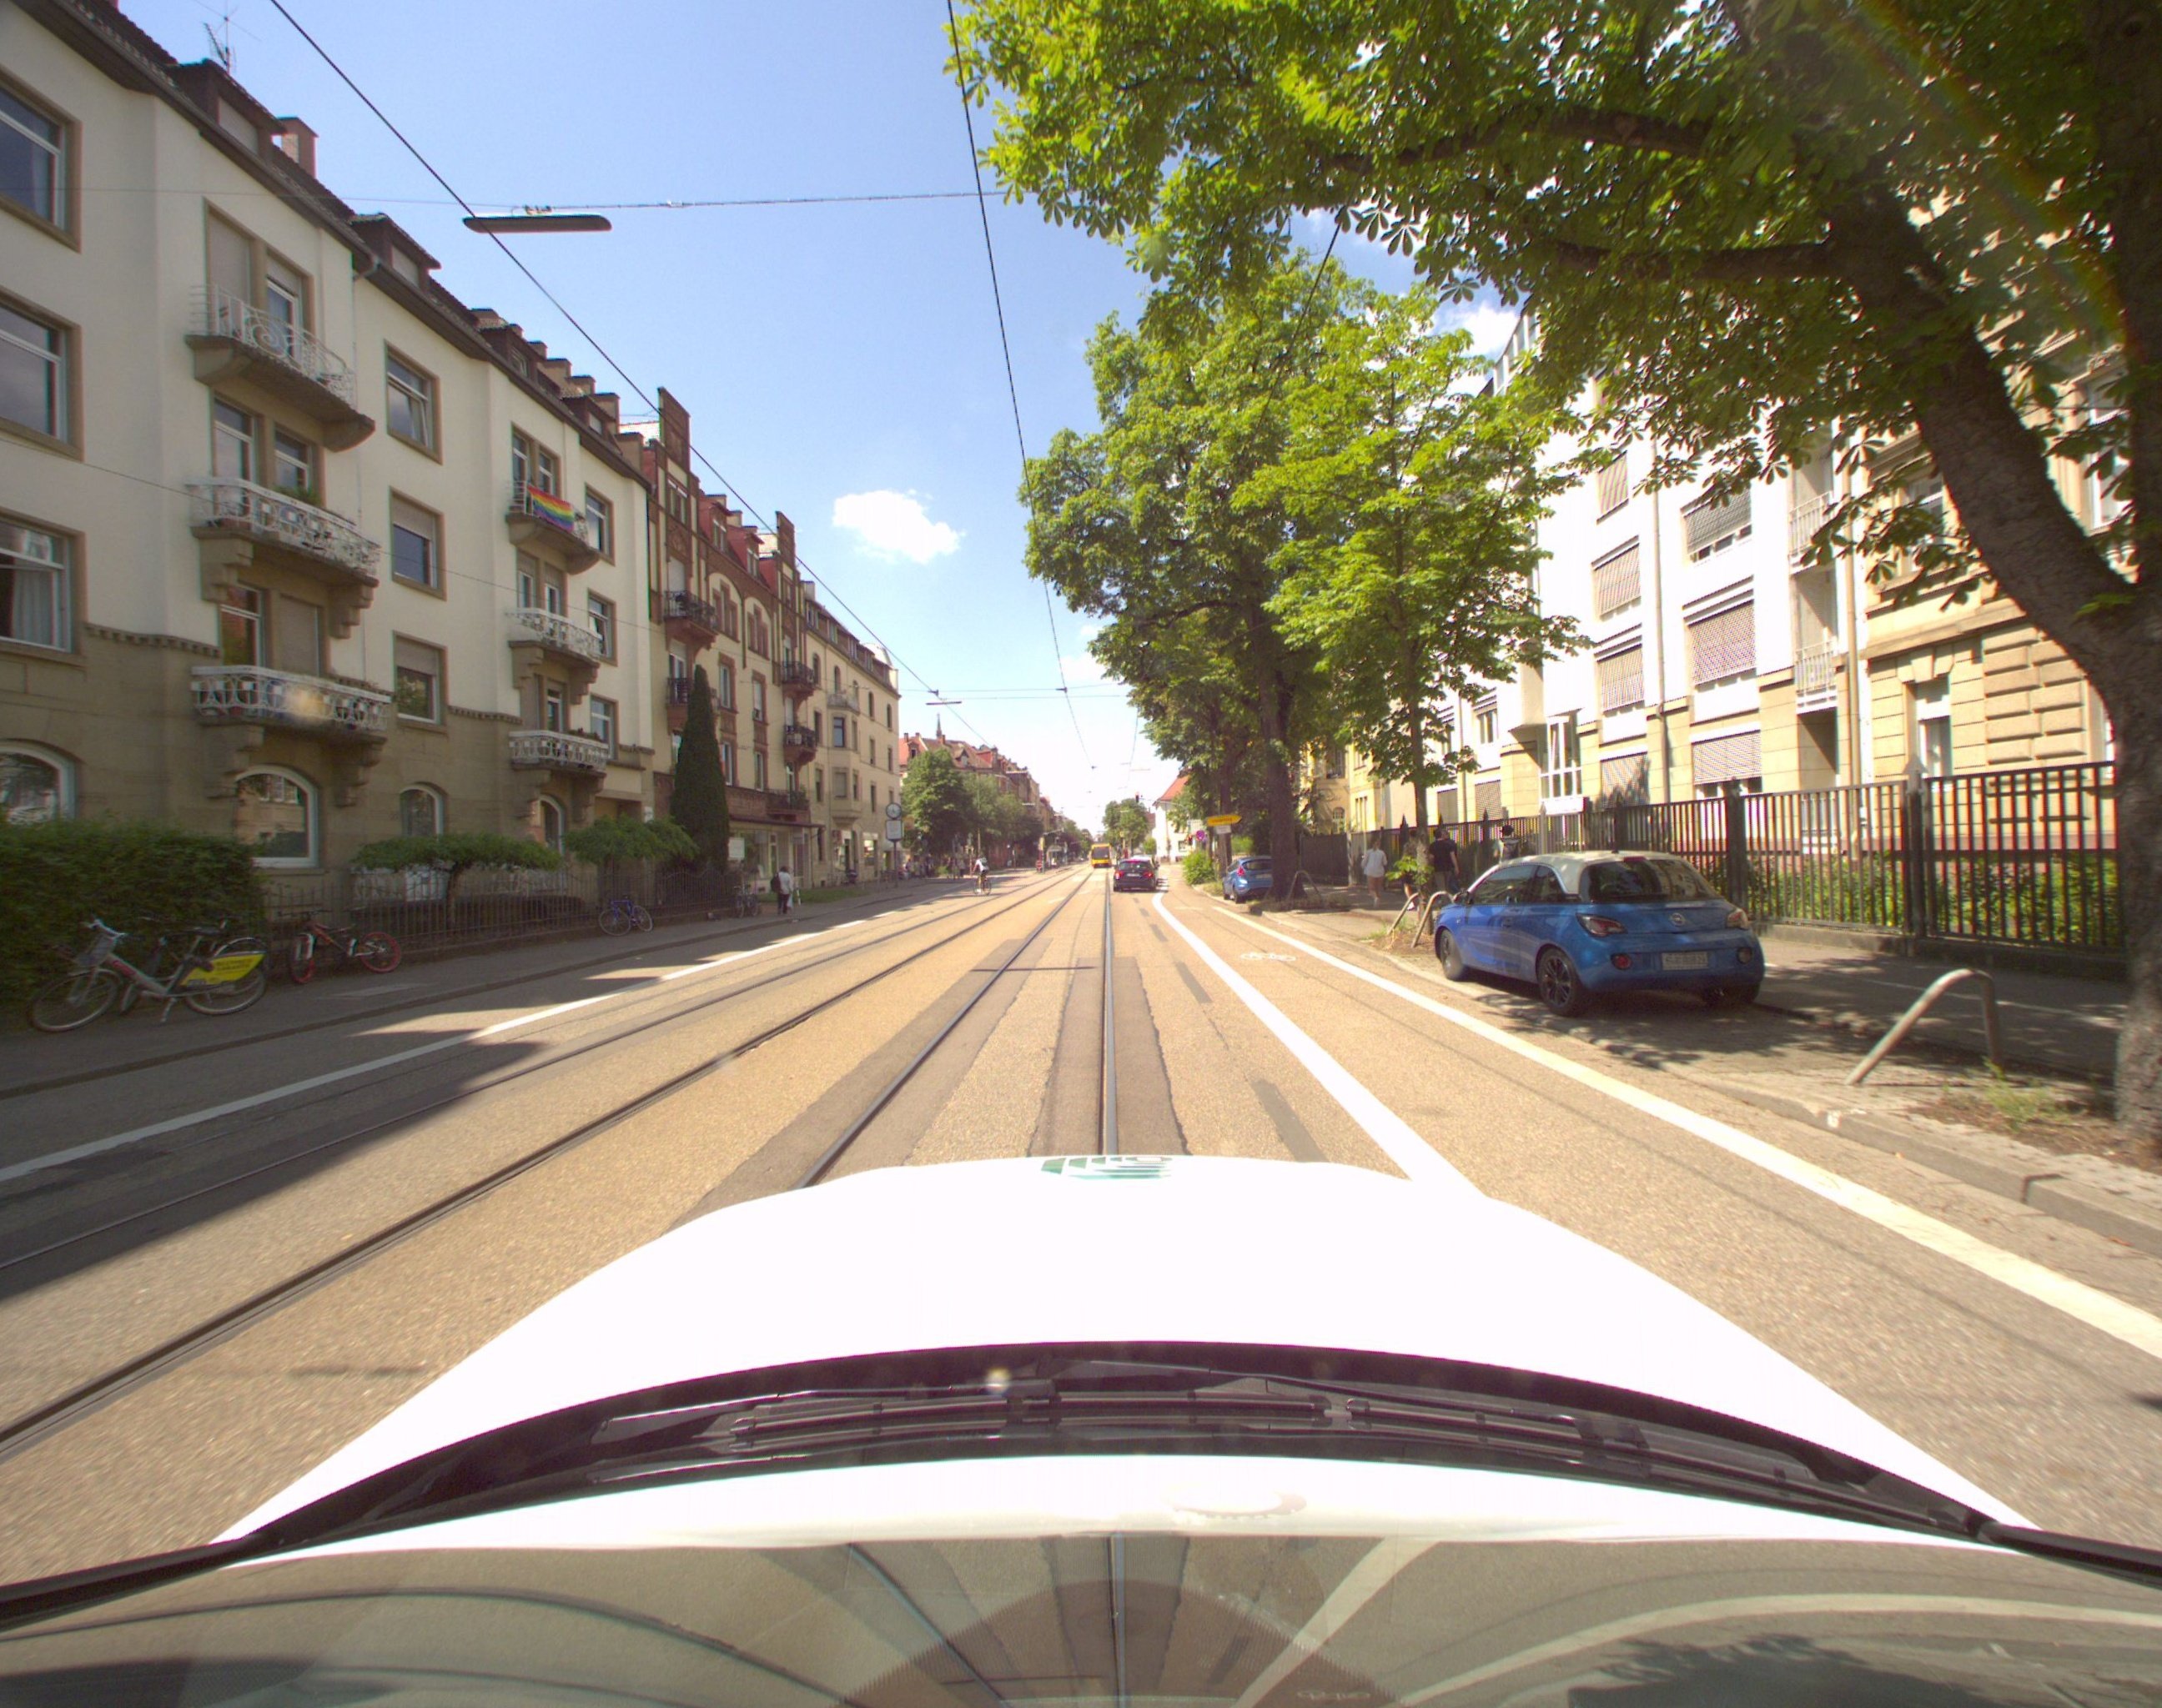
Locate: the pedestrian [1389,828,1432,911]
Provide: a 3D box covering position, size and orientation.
[{"bbox_3d":[7.280,0.336,18.050,0.699,1.776,0.951,-2,0,14],"label":"pedestrian"}]

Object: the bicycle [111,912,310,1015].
[{"bbox_3d":[-10.303,1.254,9.736,0.462,0.999,1.708,1,0,2],"label":"bicycle"}]

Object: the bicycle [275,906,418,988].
[{"bbox_3d":[-10.412,1.283,11.626,0.411,0.966,1.726,1,0,2],"label":"bicycle"}]

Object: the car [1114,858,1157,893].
[{"bbox_3d":[2.382,0.876,35.599,1.715,1.409,4.569,0,0,4],"label":"car"}]

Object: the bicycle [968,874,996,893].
[{"bbox_3d":[-4.524,1.350,37.128,0.756,0.817,1.805,-2,0,-25],"label":"bicycle"}]

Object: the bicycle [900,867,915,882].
[{"bbox_3d":[-14.567,1.718,68.404,0.547,1.128,1.664,-1,-3,-35],"label":"bicycle"}]

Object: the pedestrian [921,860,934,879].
[{"bbox_3d":[-13.608,1.391,72.193,0.857,1.635,1.026,-2,-1,1],"label":"pedestrian"}]

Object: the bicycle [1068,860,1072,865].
[{"bbox_3d":[-2.202,1.727,165.497,0.726,1.101,1.716,-2,0,1],"label":"bicycle"}]

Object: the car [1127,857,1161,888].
[{"bbox_3d":[3.273,0.911,42.436,1.677,1.484,3.688,-2,0,4],"label":"car"}]

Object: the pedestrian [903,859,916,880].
[{"bbox_3d":[-14.644,1.327,69.406,0.780,1.732,0.852,0,-1,-42],"label":"pedestrian"}]

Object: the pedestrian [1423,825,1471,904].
[{"bbox_3d":[8.619,0.244,19.207,0.658,1.811,0.977,-2,0,2],"label":"pedestrian"}]

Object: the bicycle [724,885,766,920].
[{"bbox_3d":[-10.018,1.433,24.363,0.409,0.961,1.842,1,-1,2],"label":"bicycle"}]

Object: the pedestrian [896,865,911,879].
[{"bbox_3d":[-14.107,1.454,64.812,0.912,1.077,0.883,-2,0,3],"label":"pedestrian"}]

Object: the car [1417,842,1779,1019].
[{"bbox_3d":[5.152,0.659,8.725,1.685,1.453,3.474,-2,0,1],"label":"car"}]

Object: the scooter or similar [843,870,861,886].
[{"bbox_3d":[-14.608,1.525,51.959,0.699,1.044,1.196,0,-1,-39],"label":"scooter or similar"}]

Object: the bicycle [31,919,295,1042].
[{"bbox_3d":[-9.583,1.267,8.577,0.602,0.999,1.786,-2,0,37],"label":"bicycle"}]

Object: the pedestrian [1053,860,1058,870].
[{"bbox_3d":[-3.104,1.333,99.910,0.612,1.243,0.627,-2,-1,-4],"label":"pedestrian"}]

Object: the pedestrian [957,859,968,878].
[{"bbox_3d":[-10.773,1.311,74.258,0.915,1.723,0.838,-2,-1,-7],"label":"pedestrian"}]

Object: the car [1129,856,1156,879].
[{"bbox_3d":[4.129,0.880,54.491,1.683,1.514,3.827,0,0,6],"label":"car"}]

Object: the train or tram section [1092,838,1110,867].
[{"bbox_3d":[2.648,-0.191,107.359,2.182,3.482,8.848,-2,0,2],"label":"train or tram section"}]

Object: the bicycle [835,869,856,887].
[{"bbox_3d":[-14.470,1.480,50.007,0.366,1.066,1.473,-1,-2,25],"label":"bicycle"}]

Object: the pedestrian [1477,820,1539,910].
[{"bbox_3d":[8.859,0.227,16.939,0.682,1.797,1.084,-2,0,2],"label":"pedestrian"}]

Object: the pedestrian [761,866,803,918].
[{"bbox_3d":[-9.340,1.180,25.474,0.897,1.542,0.984,-2,0,1],"label":"pedestrian"}]

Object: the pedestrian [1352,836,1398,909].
[{"bbox_3d":[6.941,0.422,19.267,0.762,1.651,0.975,-2,0,6],"label":"pedestrian"}]

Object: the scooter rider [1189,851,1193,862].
[{"bbox_3d":[17.233,0.458,127.714,0.589,1.687,0.528,-2,-1,-4],"label":"scooter rider"}]

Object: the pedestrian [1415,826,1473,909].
[{"bbox_3d":[8.033,0.287,18.075,0.784,1.761,1.052,-2,0,2],"label":"pedestrian"}]

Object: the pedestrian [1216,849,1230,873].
[{"bbox_3d":[10.043,0.515,57.446,0.852,1.645,0.838,-2,-1,5],"label":"pedestrian"}]

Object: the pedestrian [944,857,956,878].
[{"bbox_3d":[-12.174,1.244,75.687,0.897,1.891,1.165,-2,-1,1],"label":"pedestrian"}]

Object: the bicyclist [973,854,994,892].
[{"bbox_3d":[-4.425,0.861,37.010,0.759,1.663,0.824,0,-1,-24],"label":"bicyclist"}]

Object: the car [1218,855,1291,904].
[{"bbox_3d":[5.699,0.788,27.117,1.671,1.443,3.721,-2,0,1],"label":"car"}]

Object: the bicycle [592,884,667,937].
[{"bbox_3d":[-10.207,1.257,18.476,0.605,1.065,1.772,2,0,2],"label":"bicycle"}]
